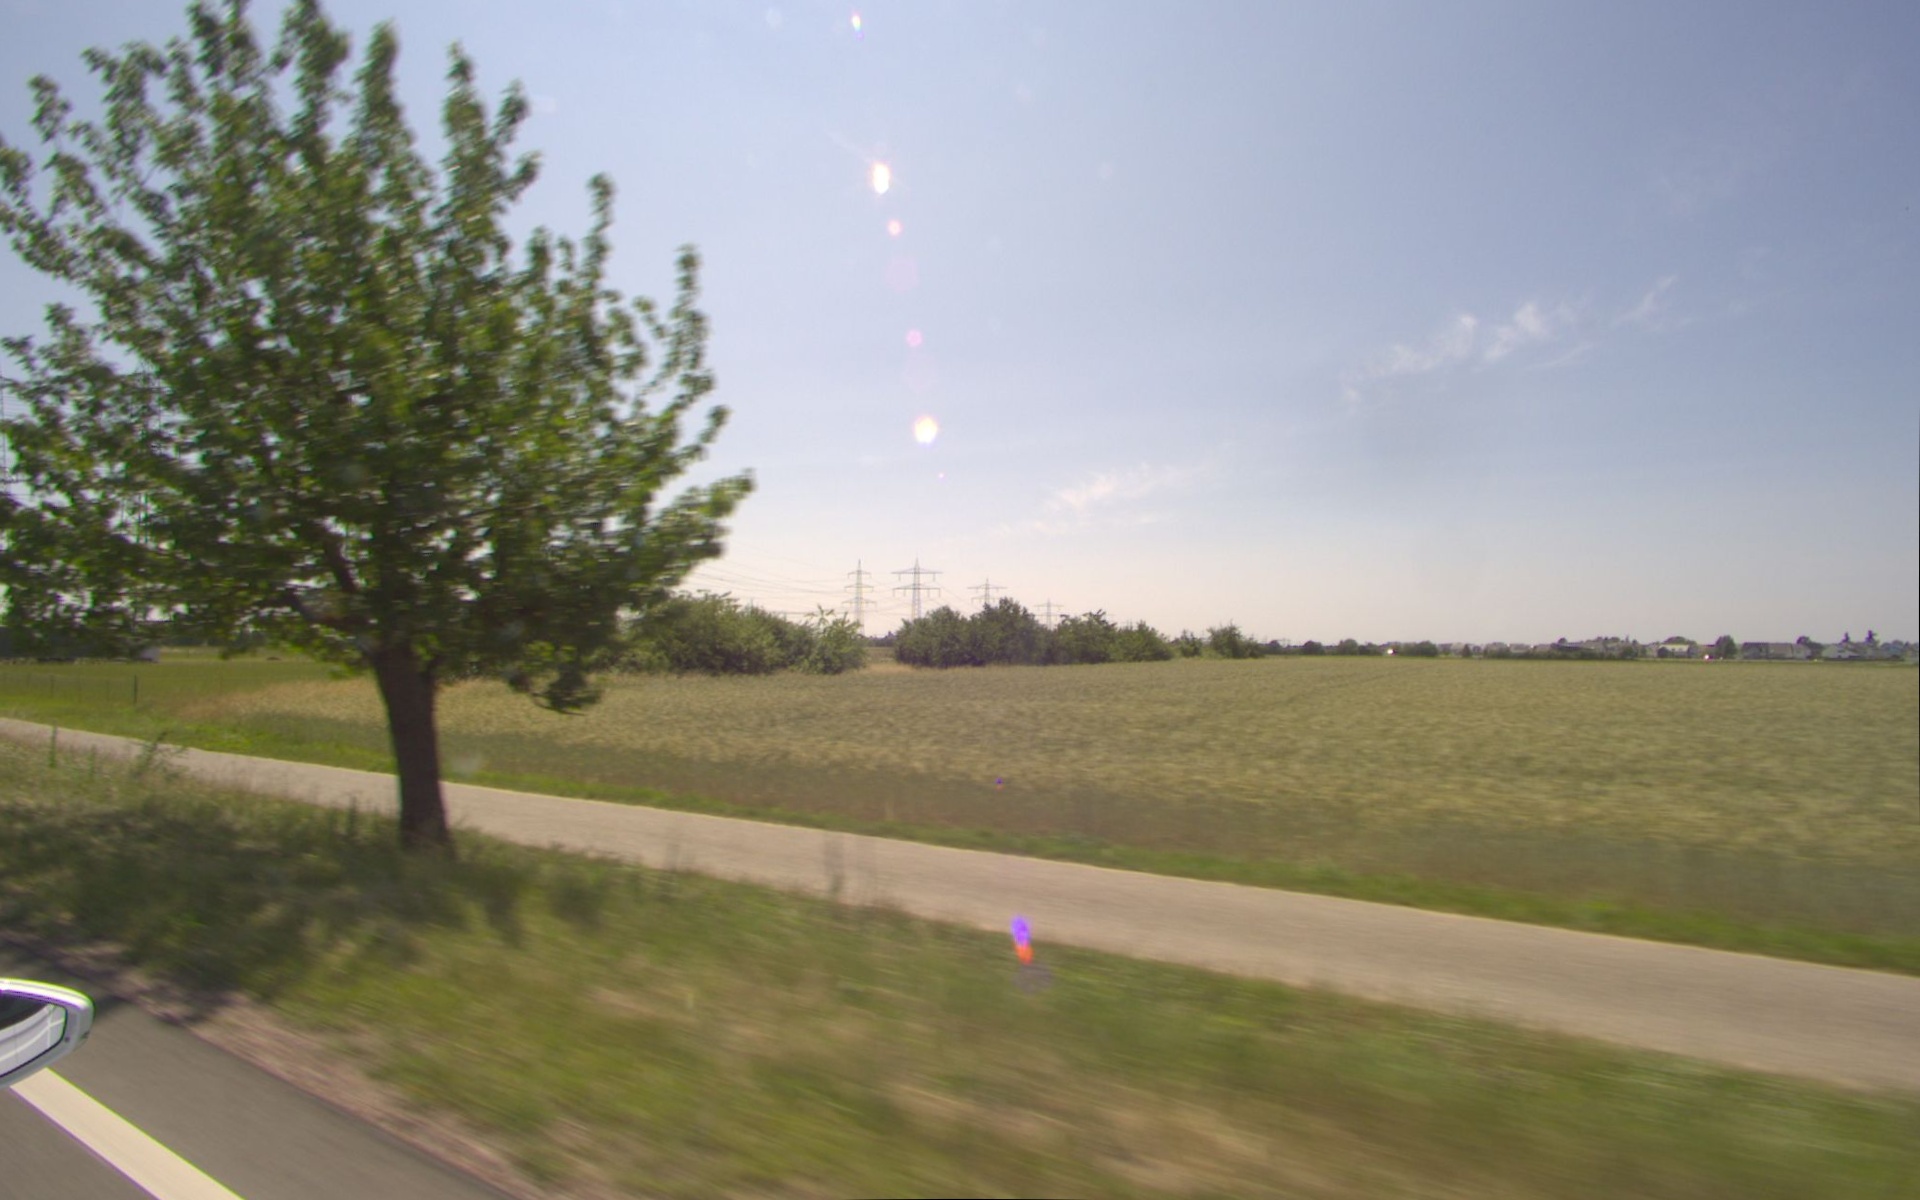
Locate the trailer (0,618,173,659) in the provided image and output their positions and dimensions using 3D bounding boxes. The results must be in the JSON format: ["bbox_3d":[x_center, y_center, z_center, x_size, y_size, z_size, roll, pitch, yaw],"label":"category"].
[{"bbox_3d":[-81.053,3.559,91.953,3.227,3.518,13.501,0,-3,30],"label":"trailer"}]

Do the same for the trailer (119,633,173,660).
[{"bbox_3d":[-76.572,4.353,94.233,2.007,2.493,3.405,0,-2,30],"label":"trailer"}]
